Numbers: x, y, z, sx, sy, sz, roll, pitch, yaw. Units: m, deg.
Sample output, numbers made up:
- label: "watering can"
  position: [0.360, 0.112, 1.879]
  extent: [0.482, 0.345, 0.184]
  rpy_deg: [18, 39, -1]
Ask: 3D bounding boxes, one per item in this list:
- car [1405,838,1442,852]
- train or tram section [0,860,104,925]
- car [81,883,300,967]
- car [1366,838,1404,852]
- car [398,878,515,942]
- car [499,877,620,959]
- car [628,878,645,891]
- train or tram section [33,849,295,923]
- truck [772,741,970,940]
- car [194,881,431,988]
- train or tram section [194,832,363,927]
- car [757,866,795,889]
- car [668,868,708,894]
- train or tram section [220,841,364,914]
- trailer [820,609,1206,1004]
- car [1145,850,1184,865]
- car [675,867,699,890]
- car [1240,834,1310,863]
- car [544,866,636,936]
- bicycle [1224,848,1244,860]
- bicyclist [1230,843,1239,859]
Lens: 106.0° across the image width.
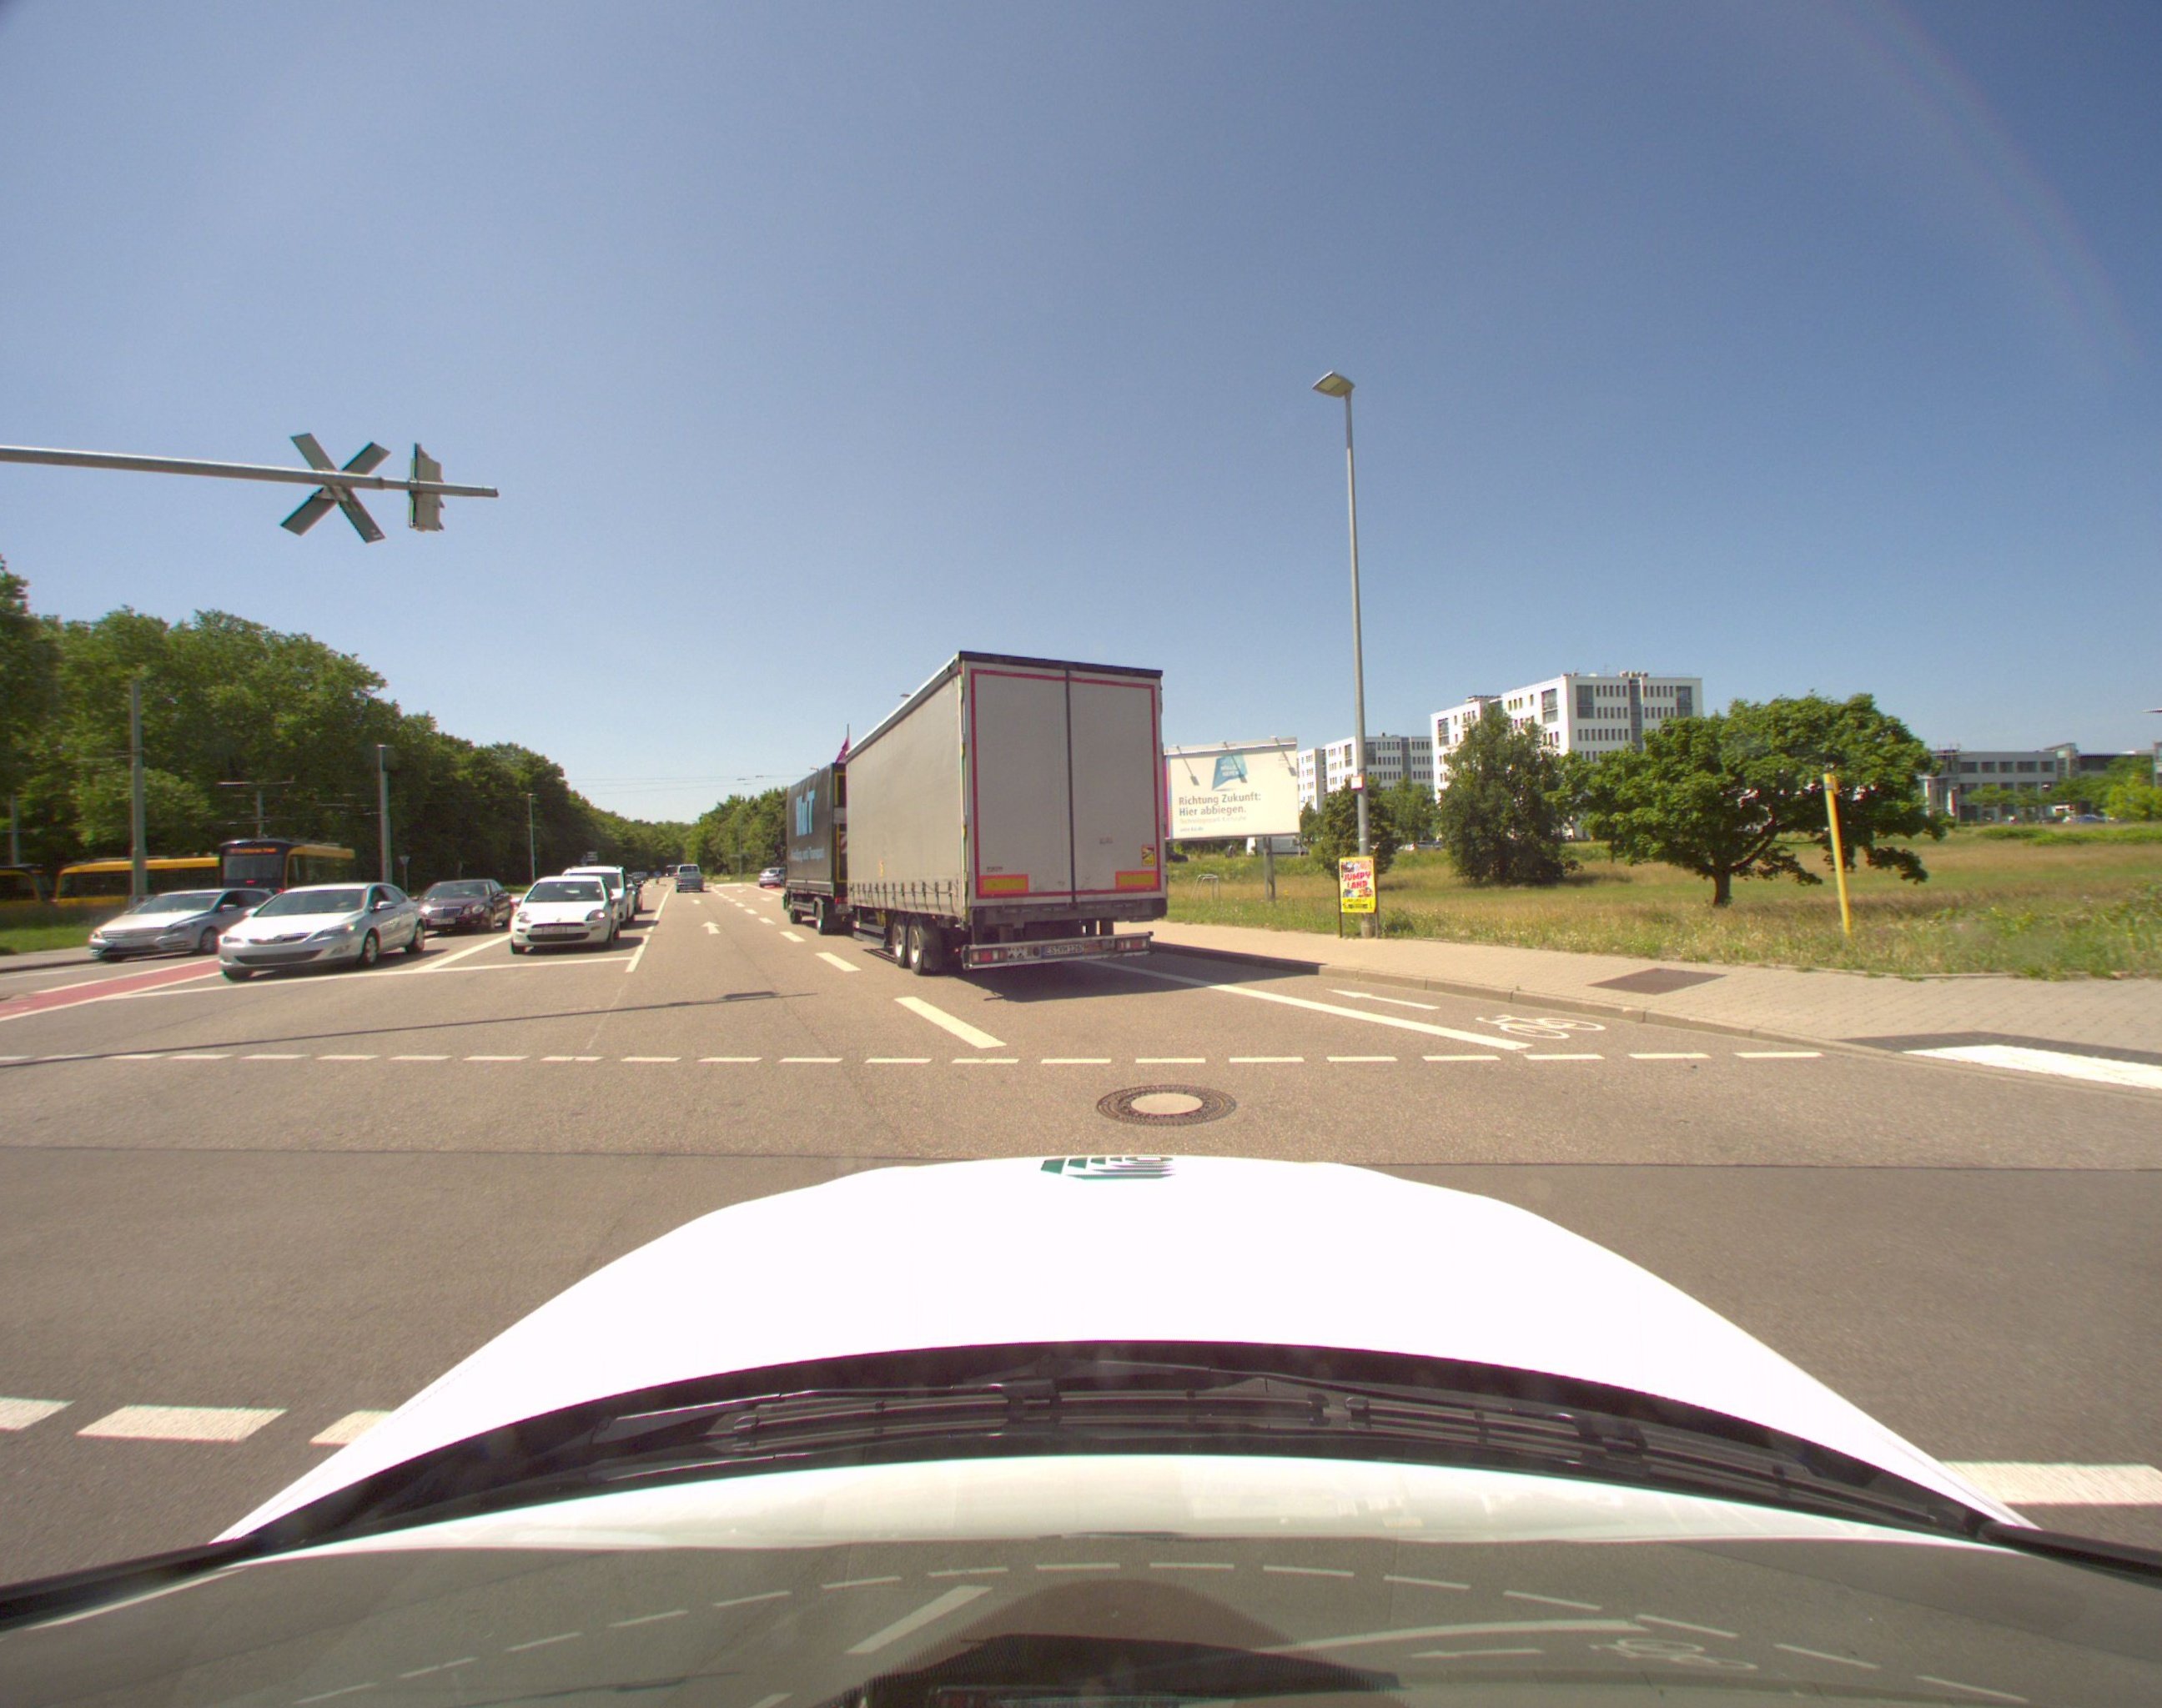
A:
- label: "car"
  position: [38.883, -1.052, 92.583]
  extent: [3.623, 1.533, 1.697]
  rpy_deg: [0, -1, -16]
- label: "train or tram section"
  position: [-69.731, 2.685, 48.581]
  extent: [14.243, 3.758, 2.996]
  rpy_deg: [-4, 1, -31]
- label: "car"
  position: [-21.357, 1.613, 19.806]
  extent: [1.747, 1.546, 4.229]
  rpy_deg: [-3, 1, -20]
- label: "car"
  position: [34.090, -0.965, 91.345]
  extent: [3.623, 1.533, 1.697]
  rpy_deg: [0, -1, -16]
- label: "car"
  position: [-16.931, 1.440, 22.297]
  extent: [1.770, 1.457, 4.247]
  rpy_deg: [-2, 0, -27]
- label: "car"
  position: [-10.743, 1.229, 17.030]
  extent: [1.778, 1.438, 3.925]
  rpy_deg: [-1, -1, -28]
- label: "car"
  position: [-55.548, 3.800, 101.893]
  extent: [1.631, 1.456, 3.471]
  rpy_deg: [-3, 0, -26]
- label: "train or tram section"
  position: [-57.397, 1.972, 51.089]
  extent: [13.933, 3.758, 3.031]
  rpy_deg: [-3, 1, 5]
- label: "truck"
  position: [-5.725, -0.234, 20.856]
  extent: [3.095, 4.070, 7.885]
  rpy_deg: [-1, -1, -28]
- label: "car"
  position: [-13.507, 1.299, 14.678]
  extent: [1.800, 1.455, 4.375]
  rpy_deg: [-3, 0, -26]
- label: "train or tram section"
  position: [-38.243, 1.142, 39.450]
  extent: [3.038, 3.758, 12.859]
  rpy_deg: [-4, 1, -33]
- label: "car"
  position: [-23.867, 1.830, 63.825]
  extent: [1.836, 1.632, 3.991]
  rpy_deg: [-2, 0, -6]
- label: "car"
  position: [-27.221, 1.852, 56.558]
  extent: [2.033, 1.632, 3.973]
  rpy_deg: [-2, 0, -20]
- label: "train or tram section"
  position: [-46.117, 1.445, 47.442]
  extent: [11.467, 3.758, 3.046]
  rpy_deg: [-3, 1, 31]
- label: "trailer"
  position: [-2.010, -0.412, 13.448]
  extent: [3.093, 4.070, 9.726]
  rpy_deg: [-1, -1, -25]
- label: "car"
  position: [8.485, 0.353, 82.779]
  extent: [3.629, 1.533, 1.694]
  rpy_deg: [0, -1, -21]
- label: "car"
  position: [-33.997, 2.088, 70.319]
  extent: [1.664, 1.907, 3.967]
  rpy_deg: [-2, 0, -25]
- label: "car"
  position: [20.777, -0.590, 87.194]
  extent: [6.847, 2.802, 2.653]
  rpy_deg: [-2, -1, -17]
- label: "car"
  position: [-13.785, 1.227, 23.098]
  extent: [1.821, 1.723, 4.789]
  rpy_deg: [-1, 0, -26]
- label: "bicycle"
  position: [16.495, -0.035, 87.754]
  extent: [1.963, 1.180, 0.610]
  rpy_deg: [-3, 2, -17]
- label: "bicyclist"
  position: [16.529, -0.321, 87.759]
  extent: [0.692, 1.623, 0.606]
  rpy_deg: [-3, 2, -16]
